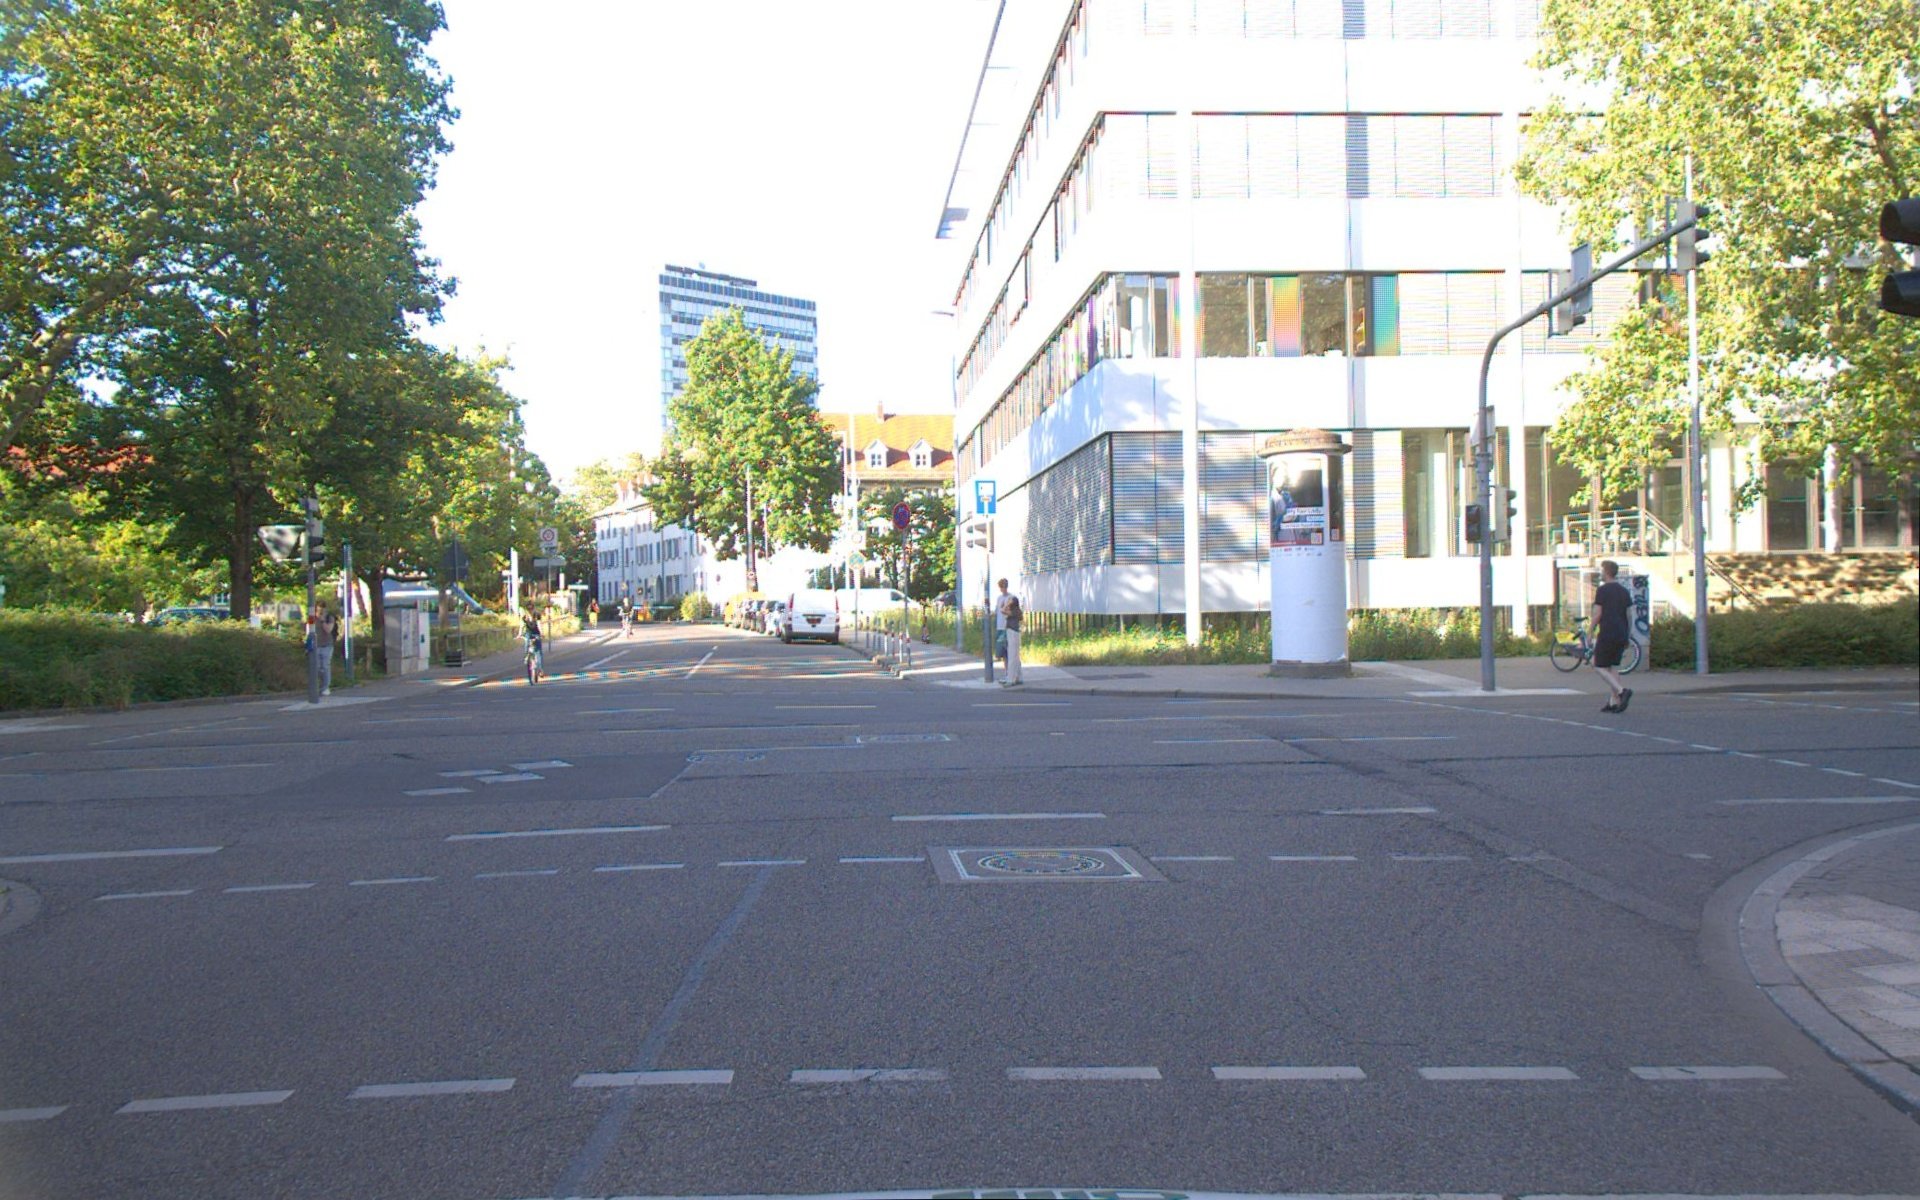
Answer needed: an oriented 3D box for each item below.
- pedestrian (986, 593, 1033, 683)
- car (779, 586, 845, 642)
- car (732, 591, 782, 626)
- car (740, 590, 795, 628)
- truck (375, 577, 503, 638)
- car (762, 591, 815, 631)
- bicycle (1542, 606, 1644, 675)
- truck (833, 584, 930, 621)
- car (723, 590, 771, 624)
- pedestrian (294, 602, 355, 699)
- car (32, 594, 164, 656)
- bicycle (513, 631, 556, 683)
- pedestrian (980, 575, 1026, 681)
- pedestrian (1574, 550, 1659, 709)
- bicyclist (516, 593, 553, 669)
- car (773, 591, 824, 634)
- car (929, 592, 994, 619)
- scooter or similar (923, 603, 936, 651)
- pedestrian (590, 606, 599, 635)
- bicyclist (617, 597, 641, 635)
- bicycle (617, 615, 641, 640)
[{"bbox_3d":[0.886,0.672,29.780,0.550,1.567,0.673,-4,1,-16],"label":"pedestrian"},{"bbox_3d":[-5.194,0.441,57.536,2.046,1.827,4.407,-1,1,-8],"label":"car"},{"bbox_3d":[-10.300,0.403,83.680,1.858,1.684,4.395,-1,1,-16],"label":"car"},{"bbox_3d":[-9.164,0.380,78.456,1.858,1.684,4.395,-1,1,-16],"label":"car"},{"bbox_3d":[-21.473,0.283,68.358,4.738,2.441,2.084,-1,0,-8],"label":"truck"},{"bbox_3d":[-7.396,0.447,71.153,1.855,1.583,4.403,-1,1,-11],"label":"car"},{"bbox_3d":[10.826,0.672,28.338,0.502,1.067,1.669,-3,3,-33],"label":"bicycle"},{"bbox_3d":[-4.558,0.126,95.837,5.254,2.049,1.990,-1,0,-18],"label":"truck"},{"bbox_3d":[-11.431,0.344,88.461,1.858,1.684,4.395,-1,1,-16],"label":"car"},{"bbox_3d":[-11.829,0.926,30.814,0.688,1.753,0.955,-2,0,0],"label":"pedestrian"},{"bbox_3d":[-36.793,1.043,70.695,4.469,2.433,2.071,-2,0,-7],"label":"car"},{"bbox_3d":[-8.885,1.177,34.604,0.604,0.986,1.838,-1,0,-7],"label":"bicycle"},{"bbox_3d":[0.795,0.510,30.389,0.547,1.882,0.677,-4,1,18],"label":"pedestrian"},{"bbox_3d":[7.892,0.345,19.906,0.692,1.872,0.837,1,0,1],"label":"pedestrian"},{"bbox_3d":[-8.899,0.645,34.629,0.604,1.559,0.902,-1,0,-7],"label":"bicyclist"},{"bbox_3d":[-6.447,0.483,65.752,1.853,1.583,4.407,-1,1,-8],"label":"car"},{"bbox_3d":[0.102,0.322,96.892,3.499,1.573,1.551,-1,0,-17],"label":"car"},{"bbox_3d":[-0.959,0.825,51.210,0.324,1.449,1.334,1,-1,-4],"label":"scooter or similar"},{"bbox_3d":[-20.367,1.152,92.269,0.426,1.636,0.490,-1,0,-17],"label":"pedestrian"},{"bbox_3d":[-14.140,0.690,70.629,0.850,1.542,1.017,-4,0,-9],"label":"bicyclist"},{"bbox_3d":[-14.118,1.168,70.612,0.850,1.027,2.409,-4,0,-9],"label":"bicycle"}]
